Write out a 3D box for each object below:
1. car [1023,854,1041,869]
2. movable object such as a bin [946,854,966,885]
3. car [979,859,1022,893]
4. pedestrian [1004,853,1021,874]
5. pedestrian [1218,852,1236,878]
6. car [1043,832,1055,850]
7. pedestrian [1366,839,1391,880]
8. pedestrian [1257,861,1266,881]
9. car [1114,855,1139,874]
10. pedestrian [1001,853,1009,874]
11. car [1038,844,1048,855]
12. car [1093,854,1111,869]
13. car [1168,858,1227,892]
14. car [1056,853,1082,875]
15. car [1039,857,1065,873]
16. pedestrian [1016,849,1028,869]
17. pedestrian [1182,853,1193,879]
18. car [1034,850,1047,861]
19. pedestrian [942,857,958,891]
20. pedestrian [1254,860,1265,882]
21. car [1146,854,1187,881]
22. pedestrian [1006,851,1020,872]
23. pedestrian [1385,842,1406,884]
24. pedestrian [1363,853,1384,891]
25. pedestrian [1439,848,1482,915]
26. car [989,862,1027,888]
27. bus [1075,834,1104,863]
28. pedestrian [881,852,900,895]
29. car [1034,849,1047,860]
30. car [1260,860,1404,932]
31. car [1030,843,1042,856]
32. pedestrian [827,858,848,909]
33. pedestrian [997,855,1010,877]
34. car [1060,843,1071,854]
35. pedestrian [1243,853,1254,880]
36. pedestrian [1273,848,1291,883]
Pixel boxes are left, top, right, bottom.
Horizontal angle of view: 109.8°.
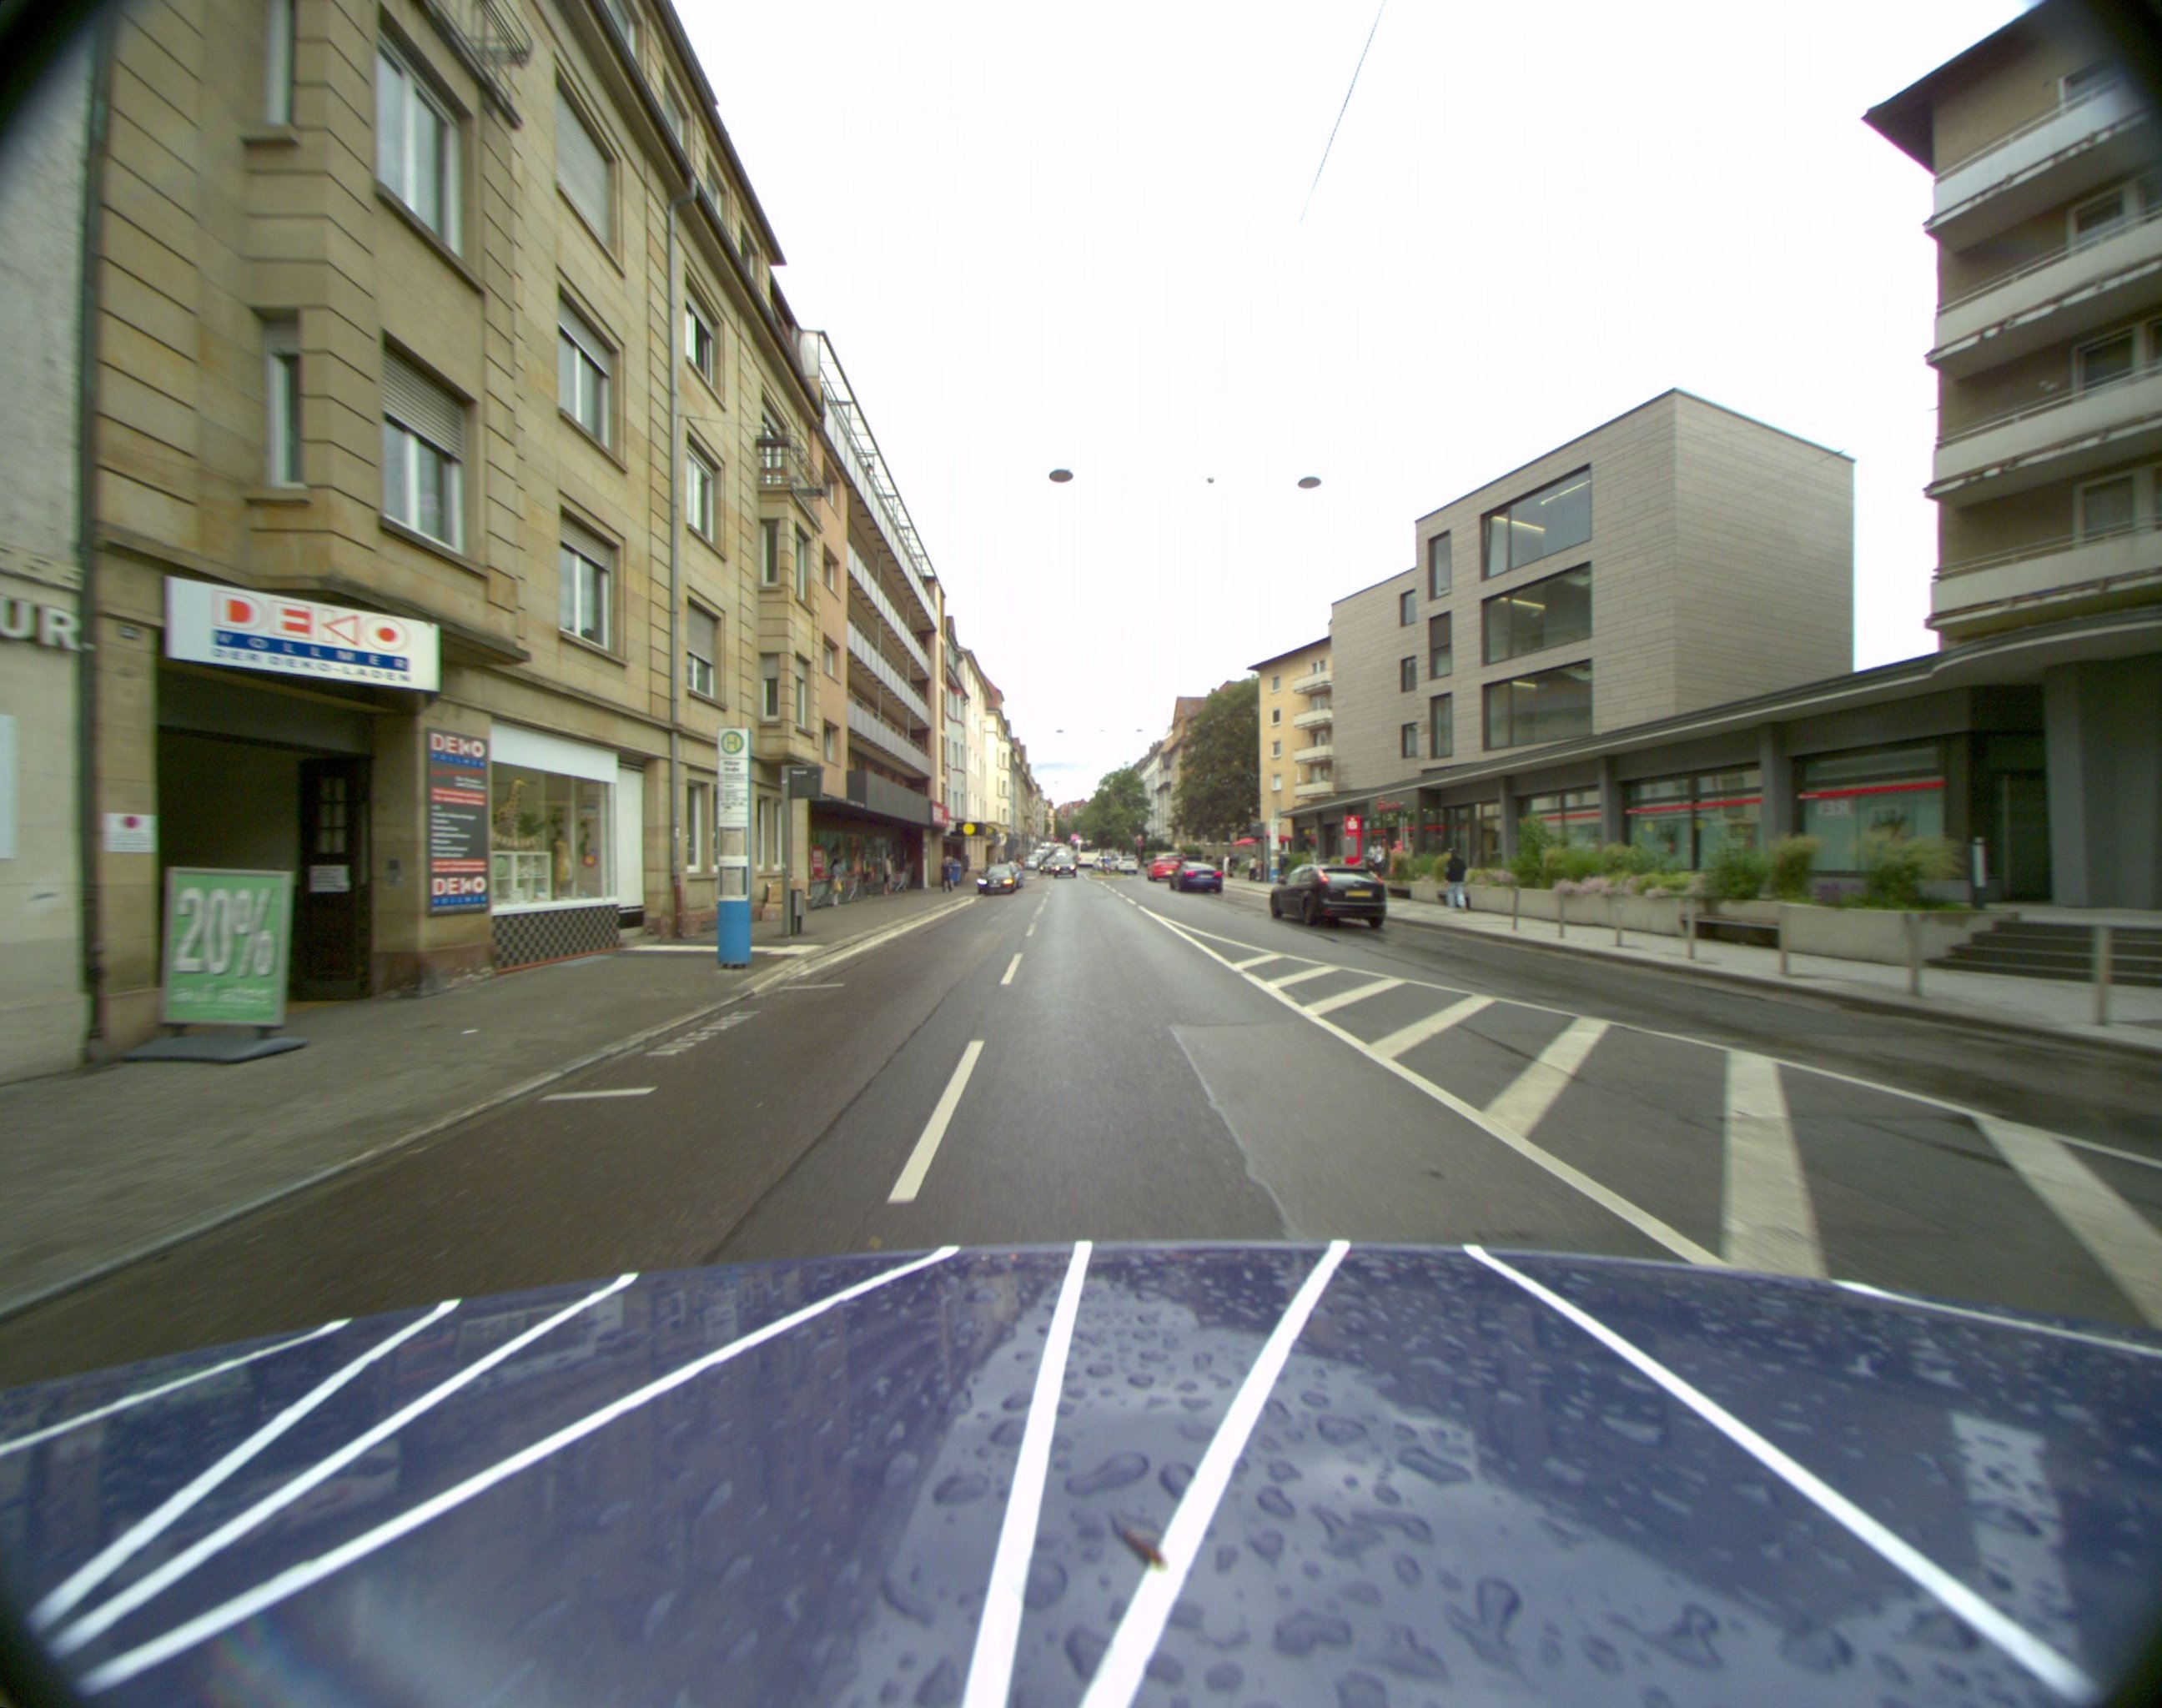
[{"bbox_3d":[-5.566,0.822,86.351,1.856,1.456,4.203,-2,1,-3],"label":"car"},{"bbox_3d":[-7.403,0.927,44.986,1.002,1.783,1.295,-1,1,-3],"label":"movable object such as a bin"},{"bbox_3d":[-3.972,1.058,38.158,1.734,1.538,3.981,-1,0,-1],"label":"car"},{"bbox_3d":[-5.707,0.803,63.472,1.060,1.738,0.856,1,1,33],"label":"pedestrian"},{"bbox_3d":[9.866,0.747,51.253,0.793,1.699,0.761,-3,1,-26],"label":"pedestrian"},{"bbox_3d":[-6.916,-2.808,165.195,2.554,3.613,9.047,-1,1,-2],"label":"car"},{"bbox_3d":[12.316,0.223,31.484,0.715,1.669,0.713,-1,1,-2],"label":"pedestrian"},{"bbox_3d":[10.141,0.954,42.621,0.393,1.110,0.386,-1,1,-1],"label":"pedestrian"},{"bbox_3d":[4.102,0.940,69.152,1.900,1.564,4.123,1,1,-2],"label":"car"},{"bbox_3d":[-6.500,0.800,64.656,0.611,1.738,0.698,1,1,-1],"label":"pedestrian"},{"bbox_3d":[-6.444,-0.792,129.494,1.719,1.871,3.906,-1,1,-2],"label":"car"},{"bbox_3d":[2.183,0.744,80.424,1.620,1.455,3.805,2,1,-1],"label":"car"},{"bbox_3d":[5.539,0.954,36.780,1.960,1.503,4.911,-1,0,-2],"label":"car"},{"bbox_3d":[-0.992,0.795,61.428,1.857,1.646,4.203,-1,0,-4],"label":"car"},{"bbox_3d":[-2.767,1.071,73.031,1.809,1.411,4.003,-2,0,8],"label":"car"},{"bbox_3d":[-5.075,0.410,65.172,0.791,1.656,0.699,1,1,14],"label":"pedestrian"},{"bbox_3d":[8.337,0.919,59.395,0.703,2.002,0.782,-2,1,-5],"label":"pedestrian"},{"bbox_3d":[-5.698,0.191,106.149,1.733,1.486,3.550,-2,1,-3],"label":"car"},{"bbox_3d":[-6.483,0.987,37.556,0.627,1.642,0.748,2,0,-1],"label":"pedestrian"},{"bbox_3d":[10.118,0.957,43.103,0.469,1.269,0.549,-1,1,-1],"label":"pedestrian"},{"bbox_3d":[5.785,0.879,52.124,2.111,1.754,5.059,1,0,-2],"label":"car"},{"bbox_3d":[-5.341,0.563,59.449,0.701,1.637,0.784,2,1,33],"label":"pedestrian"},{"bbox_3d":[12.644,0.353,30.513,0.712,1.669,0.801,-1,1,27],"label":"pedestrian"},{"bbox_3d":[11.170,0.672,29.003,0.590,1.412,0.726,-1,1,33],"label":"pedestrian"},{"bbox_3d":[10.494,0.756,21.037,0.724,1.815,0.721,-2,0,-20],"label":"pedestrian"},{"bbox_3d":[-4.151,1.176,43.753,1.739,1.302,3.767,-3,0,1],"label":"car"},{"bbox_3d":[0.936,-0.706,93.309,2.813,3.228,11.956,3,1,-2],"label":"bus"},{"bbox_3d":[-8.355,0.842,33.367,0.597,1.848,0.727,-1,1,2],"label":"pedestrian"},{"bbox_3d":[-5.970,0.099,112.338,1.733,1.486,3.550,-2,1,-3],"label":"car"},{"bbox_3d":[5.990,0.941,18.724,1.960,1.548,4.242,1,0,-3],"label":"car"},{"bbox_3d":[-7.243,-0.738,122.764,1.733,1.887,3.550,-2,1,-3],"label":"car"},{"bbox_3d":[-7.651,0.904,23.880,0.563,1.563,0.626,-1,1,-17],"label":"pedestrian"},{"bbox_3d":[-6.115,0.941,59.847,0.701,1.637,0.784,2,1,33],"label":"pedestrian"},{"bbox_3d":[-2.696,-1.011,134.006,1.796,1.768,3.902,-1,1,-2],"label":"car"},{"bbox_3d":[9.884,0.737,44.840,0.438,1.540,0.533,-1,1,-2],"label":"pedestrian"},{"bbox_3d":[10.552,0.611,39.967,0.591,1.809,0.870,-1,1,-10],"label":"pedestrian"}]
